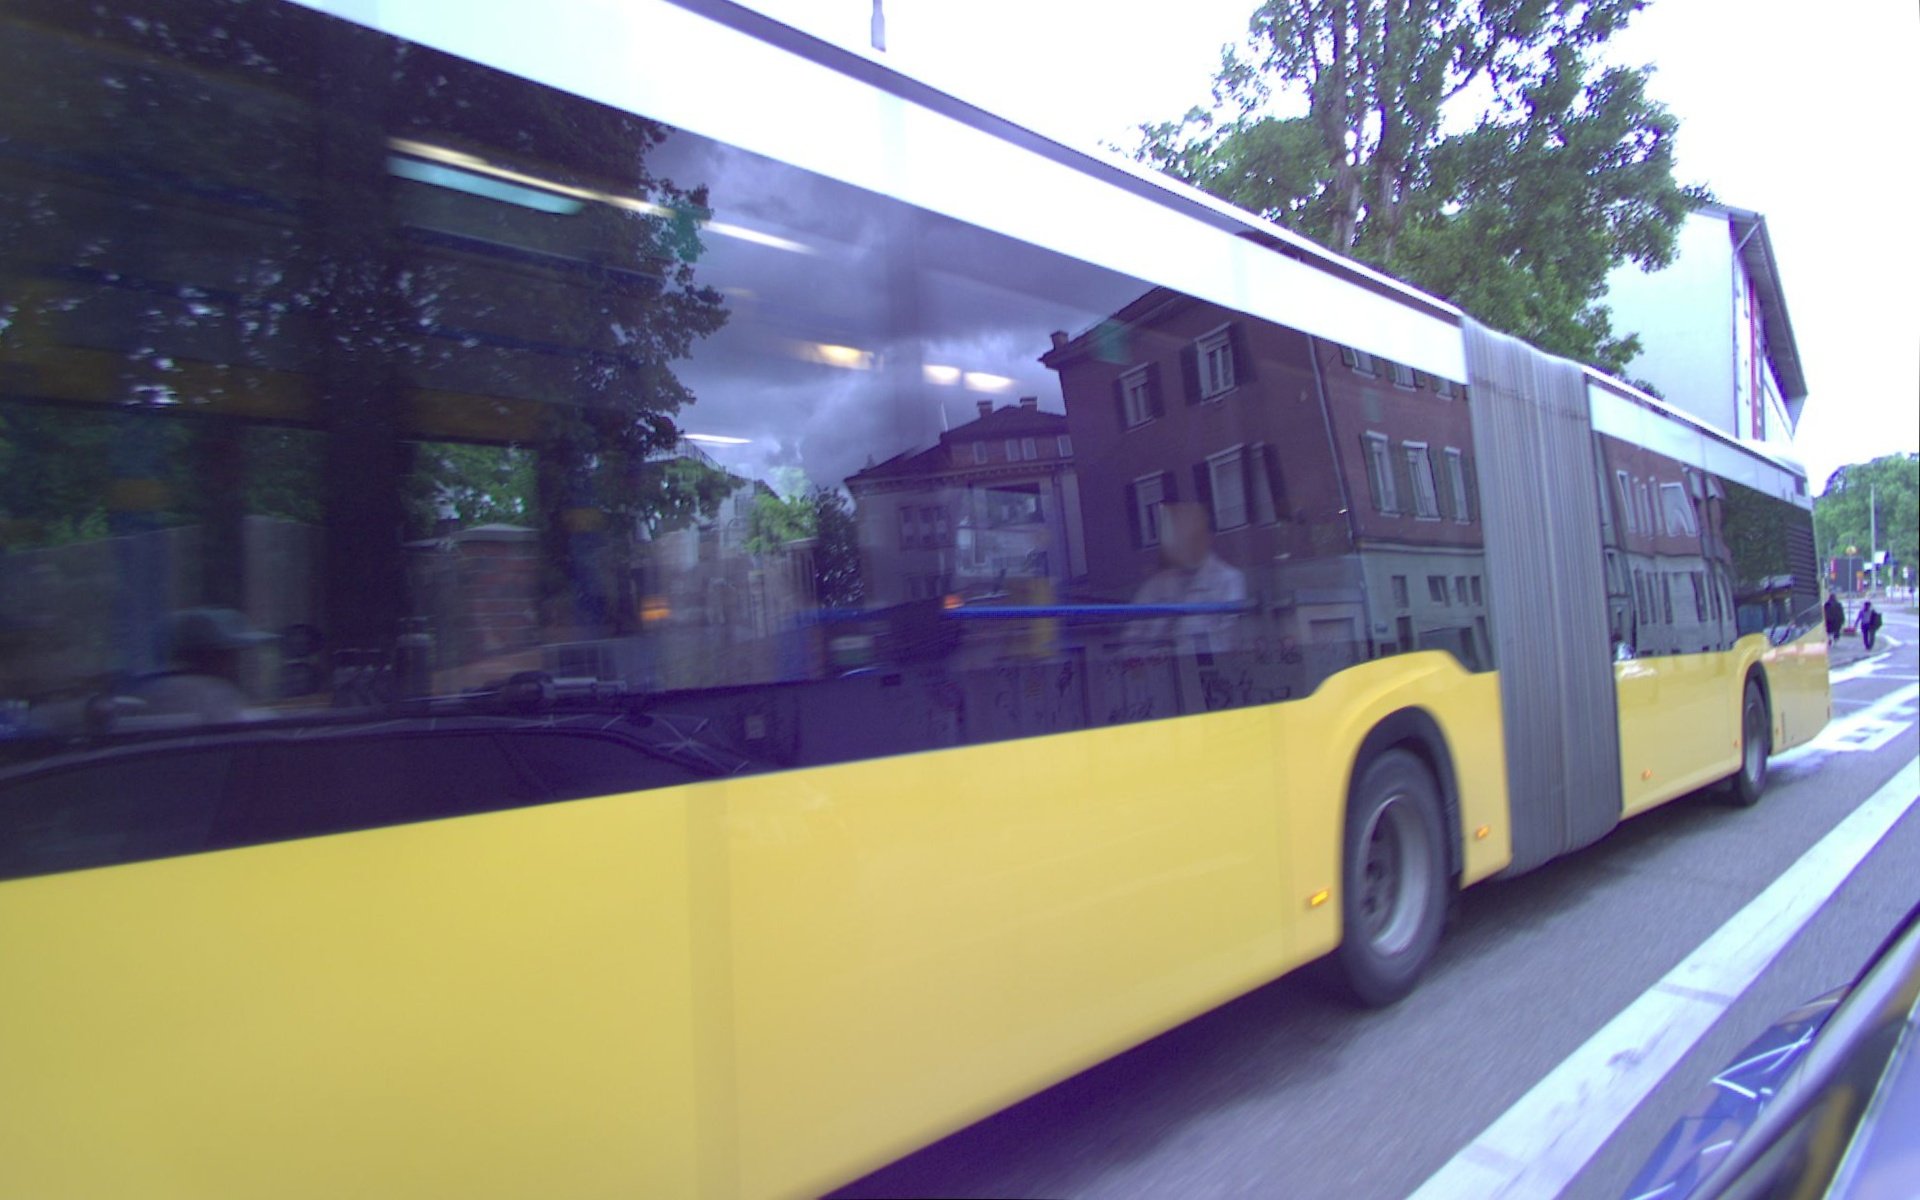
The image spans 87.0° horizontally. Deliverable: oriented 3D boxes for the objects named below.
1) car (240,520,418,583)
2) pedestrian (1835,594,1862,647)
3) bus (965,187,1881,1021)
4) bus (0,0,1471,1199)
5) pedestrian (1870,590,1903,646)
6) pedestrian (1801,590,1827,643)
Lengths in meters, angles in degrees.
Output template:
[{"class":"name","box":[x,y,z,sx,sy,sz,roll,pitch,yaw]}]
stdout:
[{"class":"car","box":[-19.344,-1.439,30.986,5.502,1.609,1.983,-1,1,26]},{"class":"pedestrian","box":[29.908,0.685,34.065,0.686,1.779,0.864,0,-1,43]},{"class":"bus","box":[4.671,0.071,8.106,9.864,3.177,2.666,0,-4,-41]},{"class":"bus","box":[-2.456,0.045,1.878,9.056,3.180,2.675,0,-4,-41]},{"class":"pedestrian","box":[30.518,0.581,33.342,0.803,1.817,0.928,0,-1,43]},{"class":"pedestrian","box":[29.304,0.568,34.728,0.597,1.779,0.544,2,-1,-34]}]
